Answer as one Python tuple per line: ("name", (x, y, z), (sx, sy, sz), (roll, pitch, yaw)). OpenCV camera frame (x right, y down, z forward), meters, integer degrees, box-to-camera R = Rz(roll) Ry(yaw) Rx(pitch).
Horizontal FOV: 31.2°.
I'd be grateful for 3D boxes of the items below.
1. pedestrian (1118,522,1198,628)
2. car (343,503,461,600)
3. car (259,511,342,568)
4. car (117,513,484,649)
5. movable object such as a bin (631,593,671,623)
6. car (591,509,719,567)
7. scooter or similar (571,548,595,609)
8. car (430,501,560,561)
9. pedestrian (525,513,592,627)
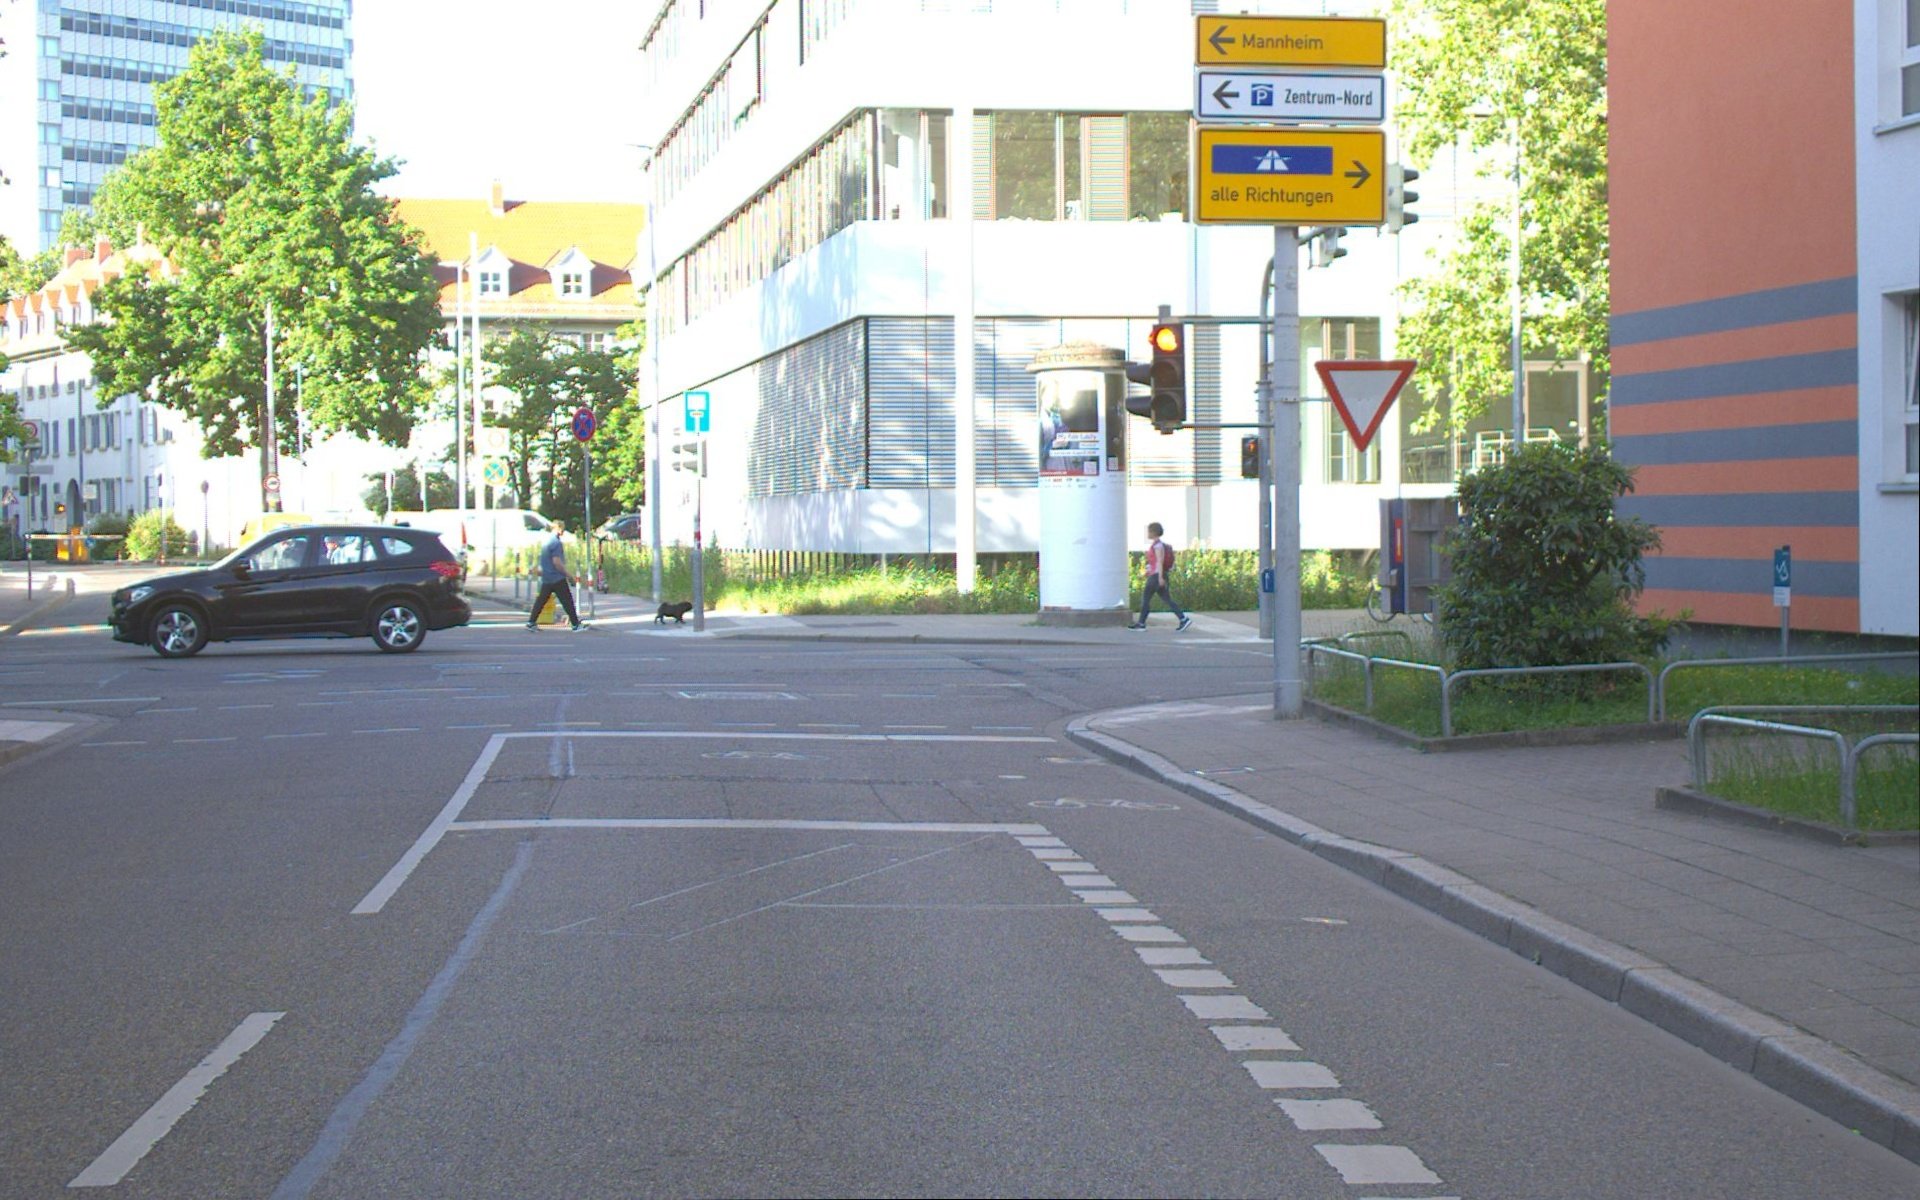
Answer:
("pedestrian", (2.878, -0.360, 50.121), (0.926, 1.510, 0.848), (1, 0, -12))
("car", (-12.931, -1.123, 79.424), (2.423, 2.104, 5.233), (1, 0, -11))
("car", (-21.122, -1.930, 109.953), (2.329, 1.727, 5.007), (1, 0, -14))
("car", (-8.188, -0.262, 42.785), (4.364, 1.627, 2.001), (-1, 1, -11))
("movable object such as a bin", (-4.938, 0.127, 54.960), (0.589, 0.479, 0.286), (-1, 1, -15))
("car", (-10.558, -2.140, 119.096), (3.986, 1.876, 1.936), (1, 0, -22))
("scooter or similar", (-6.671, -0.381, 60.831), (0.325, 1.056, 1.143), (0, 1, -11))
("car", (-15.833, -2.348, 116.947), (3.986, 1.908, 1.920), (1, 0, -22))
("pedestrian", (-6.246, -0.466, 53.470), (0.926, 1.753, 0.848), (1, 1, -12))
